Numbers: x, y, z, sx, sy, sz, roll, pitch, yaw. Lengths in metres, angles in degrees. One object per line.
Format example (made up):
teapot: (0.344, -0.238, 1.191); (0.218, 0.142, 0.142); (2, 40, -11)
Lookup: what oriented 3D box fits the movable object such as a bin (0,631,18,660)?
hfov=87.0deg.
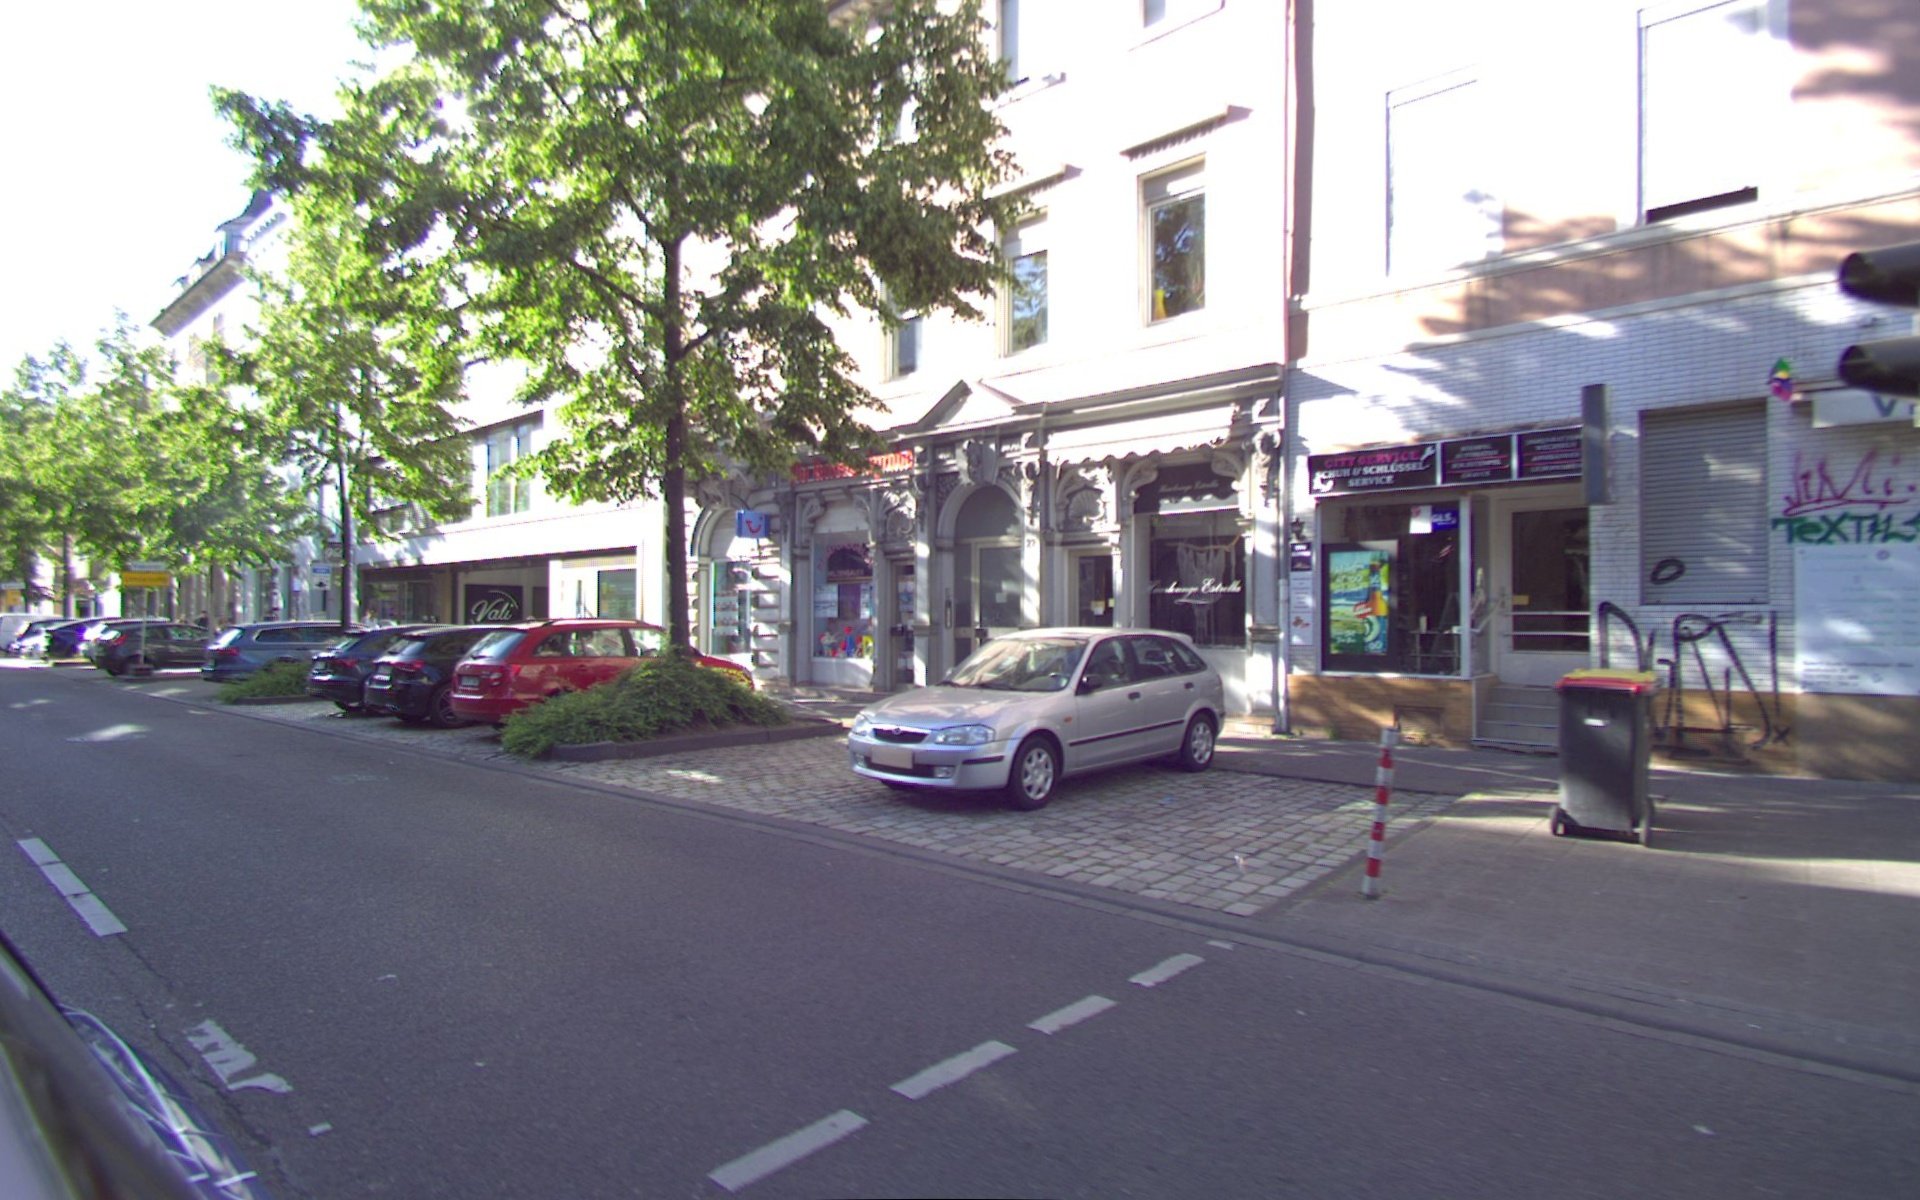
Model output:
movable object such as a bin: (-44.307, 2.082, 46.603); (0.869, 1.312, 1.225); (-2, -2, 40)

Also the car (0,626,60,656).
car: (-48.723, 2.096, 51.807); (1.708, 1.475, 3.742); (-2, -1, 38)

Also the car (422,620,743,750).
car: (-4.976, 1.032, 13.698); (1.738, 1.479, 3.709); (-2, -2, 40)

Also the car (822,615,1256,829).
car: (0.918, 0.893, 9.222); (1.739, 1.479, 4.157); (-2, -2, 43)

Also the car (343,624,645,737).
car: (-6.964, 1.115, 15.376); (1.789, 1.439, 3.800); (-2, -2, 42)

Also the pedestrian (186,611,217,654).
pedestrian: (-32.037, 1.367, 42.745); (0.762, 1.779, 0.767); (-1, 2, 39)

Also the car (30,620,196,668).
car: (-30.278, 1.533, 36.288); (1.979, 1.582, 4.320); (-2, -2, 41)

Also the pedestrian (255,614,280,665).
pedestrian: (-24.648, 1.399, 36.012); (0.690, 1.811, 0.747); (1, -2, -37)

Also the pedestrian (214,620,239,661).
pedestrian: (-27.987, 1.538, 38.608); (0.842, 1.505, 0.586); (-2, 0, 42)

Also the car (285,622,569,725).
car: (-8.850, 1.140, 17.023); (1.770, 1.497, 3.877); (-2, -2, 42)

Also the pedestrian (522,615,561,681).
pedestrian: (-9.211, 1.055, 22.260); (0.502, 1.419, 0.825); (0, -2, -45)

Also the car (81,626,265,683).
car: (-21.994, 1.469, 28.389); (1.778, 1.470, 3.744); (-2, -2, 38)

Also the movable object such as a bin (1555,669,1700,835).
movable object such as a bin: (4.788, 1.052, 7.270); (0.804, 1.077, 0.526); (-2, -3, 40)

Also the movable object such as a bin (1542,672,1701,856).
movable object such as a bin: (4.335, 1.032, 6.638); (0.804, 1.077, 0.526); (-2, -3, 40)

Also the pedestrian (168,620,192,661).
pedestrian: (-32.492, 1.680, 42.149); (0.726, 1.638, 0.560); (-1, 2, 39)

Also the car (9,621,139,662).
car: (-35.745, 1.658, 40.909); (1.791, 1.570, 3.760); (-2, -2, 41)

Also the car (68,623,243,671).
car: (-26.581, 1.506, 33.547); (1.977, 1.470, 4.206); (-2, -2, 37)

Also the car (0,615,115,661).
car: (-39.174, 1.615, 43.534); (2.038, 1.850, 4.062); (-2, -1, 41)

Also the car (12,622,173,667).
car: (-32.298, 1.613, 37.768); (1.945, 1.582, 4.320); (-2, -2, 41)

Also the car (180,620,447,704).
car: (-13.584, 1.229, 21.504); (1.788, 1.470, 4.450); (-2, -1, 38)
